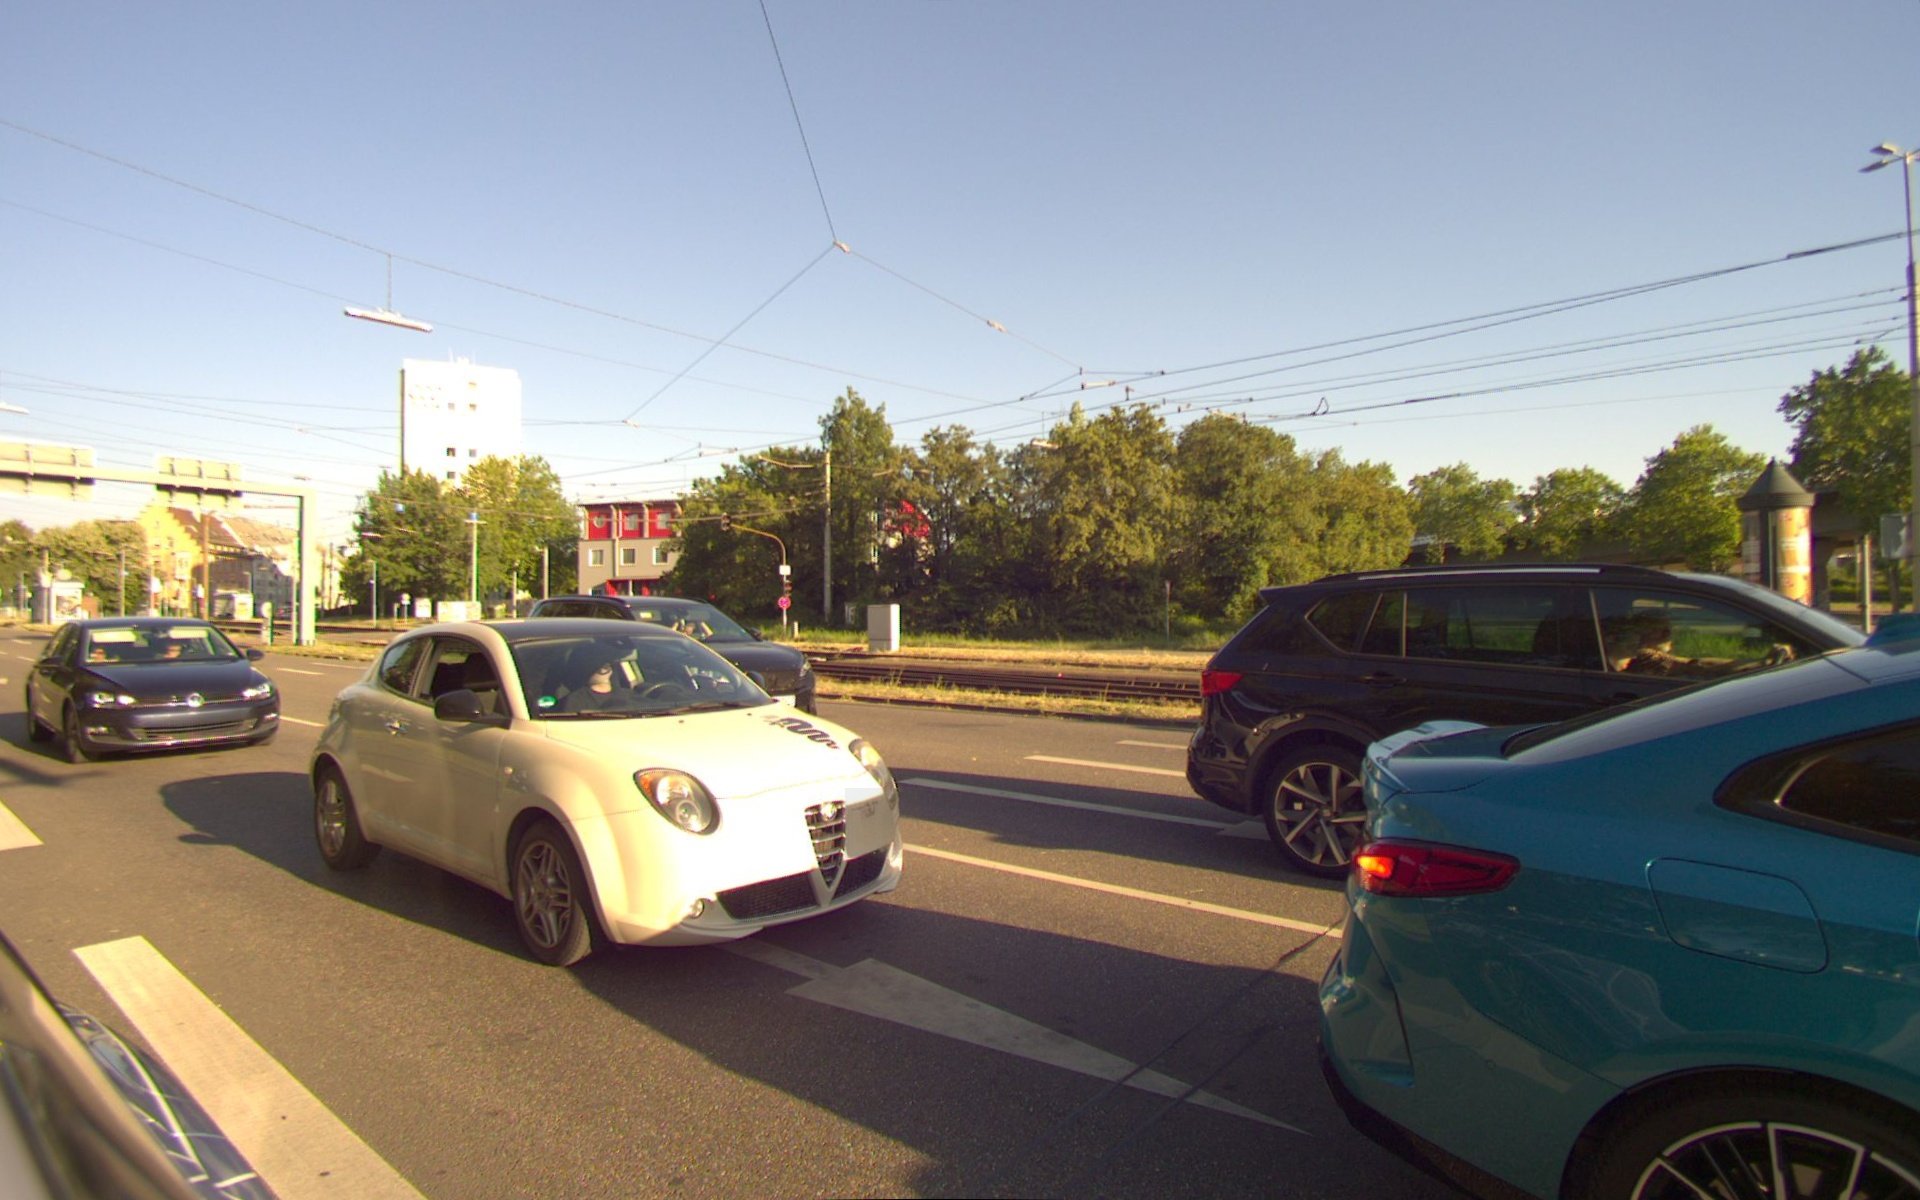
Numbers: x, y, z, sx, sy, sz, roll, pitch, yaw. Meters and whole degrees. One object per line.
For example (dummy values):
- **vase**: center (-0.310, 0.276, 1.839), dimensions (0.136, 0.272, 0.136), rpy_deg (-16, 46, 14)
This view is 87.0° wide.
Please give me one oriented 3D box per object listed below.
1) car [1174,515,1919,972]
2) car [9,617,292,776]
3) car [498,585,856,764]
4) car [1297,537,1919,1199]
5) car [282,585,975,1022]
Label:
- **car**: center (3.549, 0.561, 4.996), dimensions (4.624, 1.692, 1.794), rpy_deg (-2, -2, 43)
- **car**: center (-9.124, 0.926, 11.299), dimensions (3.997, 1.448, 1.719), rpy_deg (-1, -1, 40)
- **car**: center (-3.353, 0.758, 11.609), dimensions (4.273, 1.675, 1.881), rpy_deg (-1, -2, 40)
- **car**: center (2.870, 0.637, 1.468), dimensions (4.201, 1.477, 1.697), rpy_deg (-1, -2, 38)
- **car**: center (-2.001, 0.758, 5.476), dimensions (3.997, 1.517, 1.719), rpy_deg (-1, -2, 40)
